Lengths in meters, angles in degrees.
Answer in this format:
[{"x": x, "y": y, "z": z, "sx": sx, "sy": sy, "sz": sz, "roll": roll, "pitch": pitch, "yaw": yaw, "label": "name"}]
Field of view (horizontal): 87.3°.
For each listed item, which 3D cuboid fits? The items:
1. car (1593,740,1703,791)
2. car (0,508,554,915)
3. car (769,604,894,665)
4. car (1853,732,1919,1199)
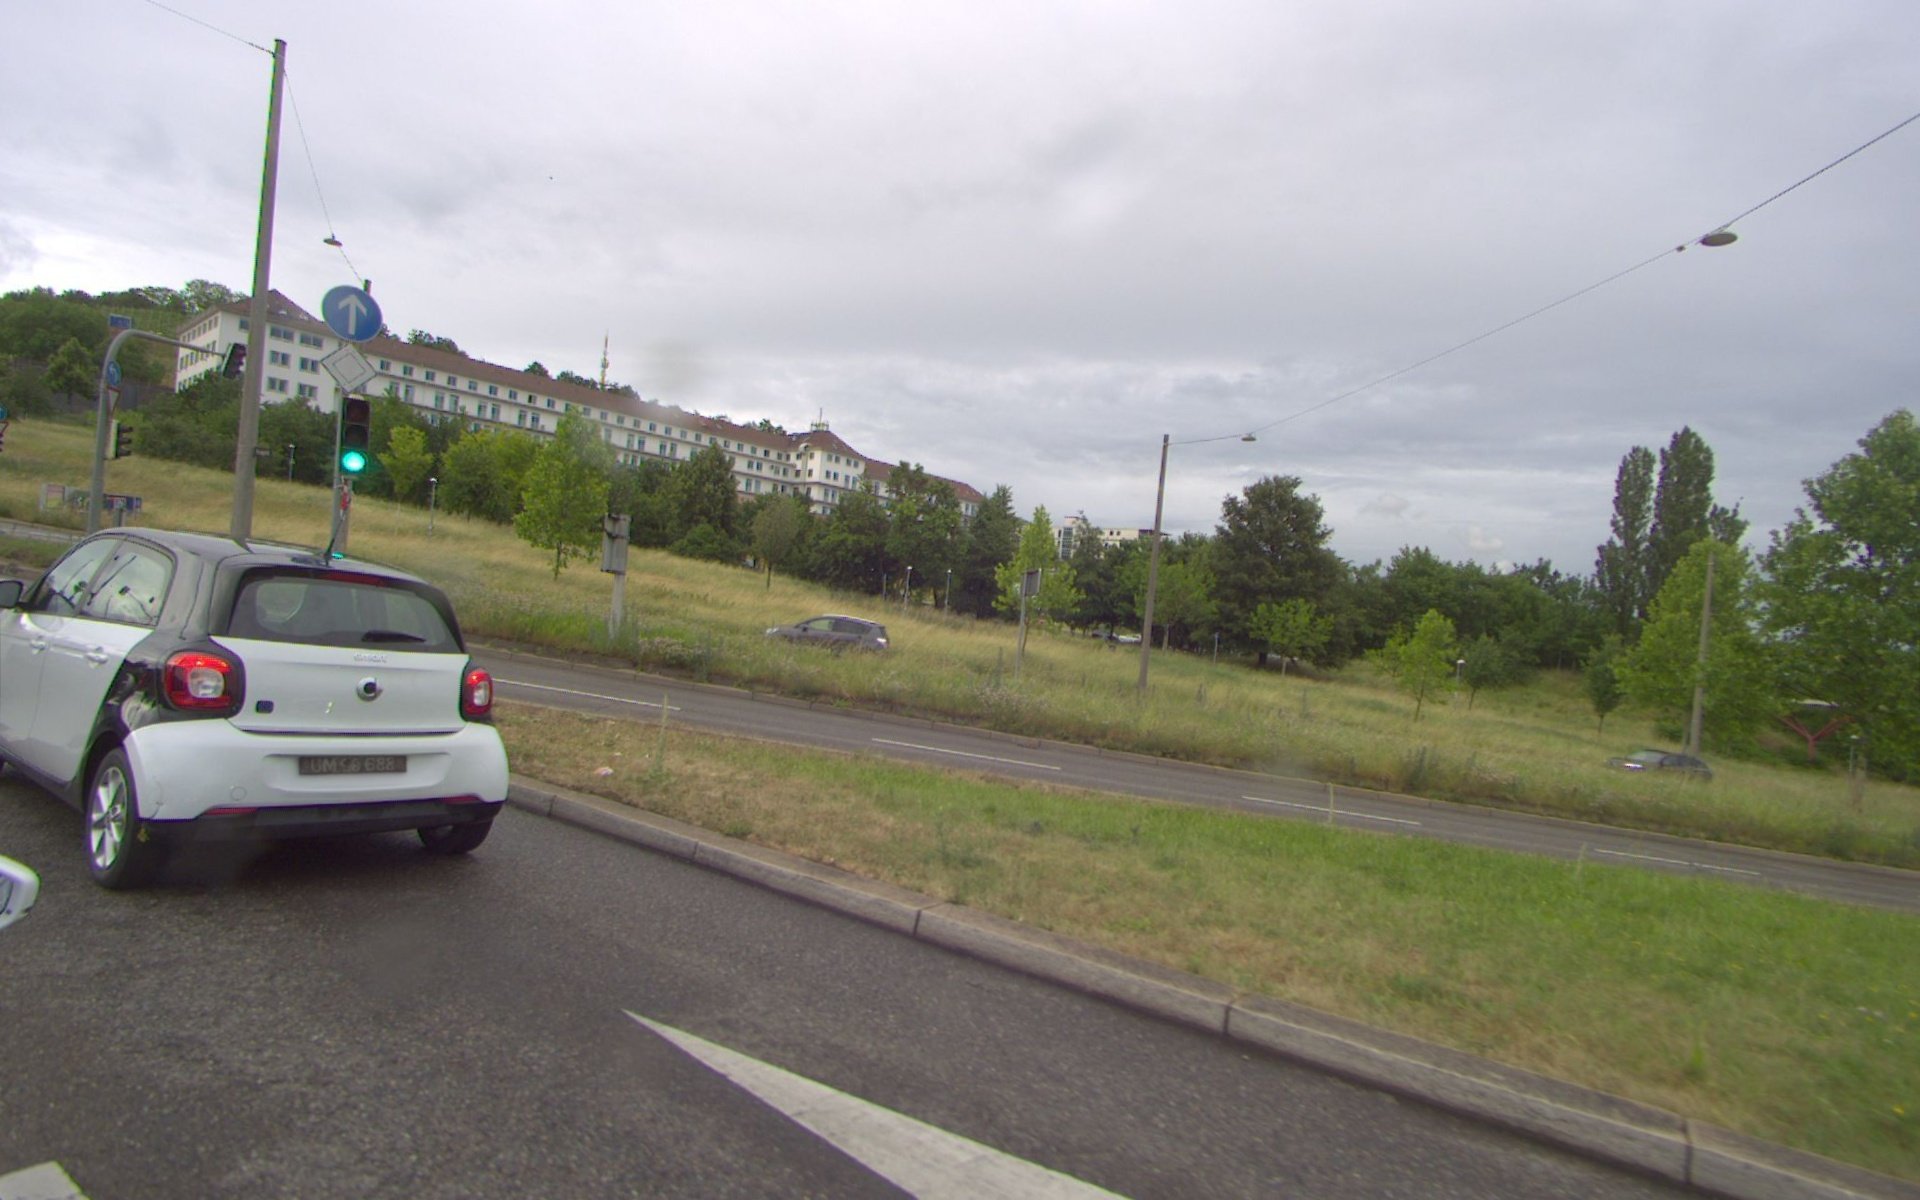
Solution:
[{"x": 28.922, "y": 6.950, "z": 42.313, "sx": 3.901, "sy": 1.424, "sz": 1.597, "roll": 10, "pitch": -3, "yaw": -15, "label": "car"}, {"x": -4.037, "y": 0.407, "z": 5.502, "sx": 3.397, "sy": 1.520, "sz": 1.659, "roll": 5, "pitch": -2, "yaw": 35, "label": "car"}, {"x": -4.282, "y": 1.155, "z": 33.786, "sx": 3.891, "sy": 1.554, "sz": 2.000, "roll": 7, "pitch": -2, "yaw": -6, "label": "car"}, {"x": 3.597, "y": 1.186, "z": 0.668, "sx": 4.158, "sy": 1.571, "sz": 1.717, "roll": 5, "pitch": -2, "yaw": 29, "label": "car"}]
